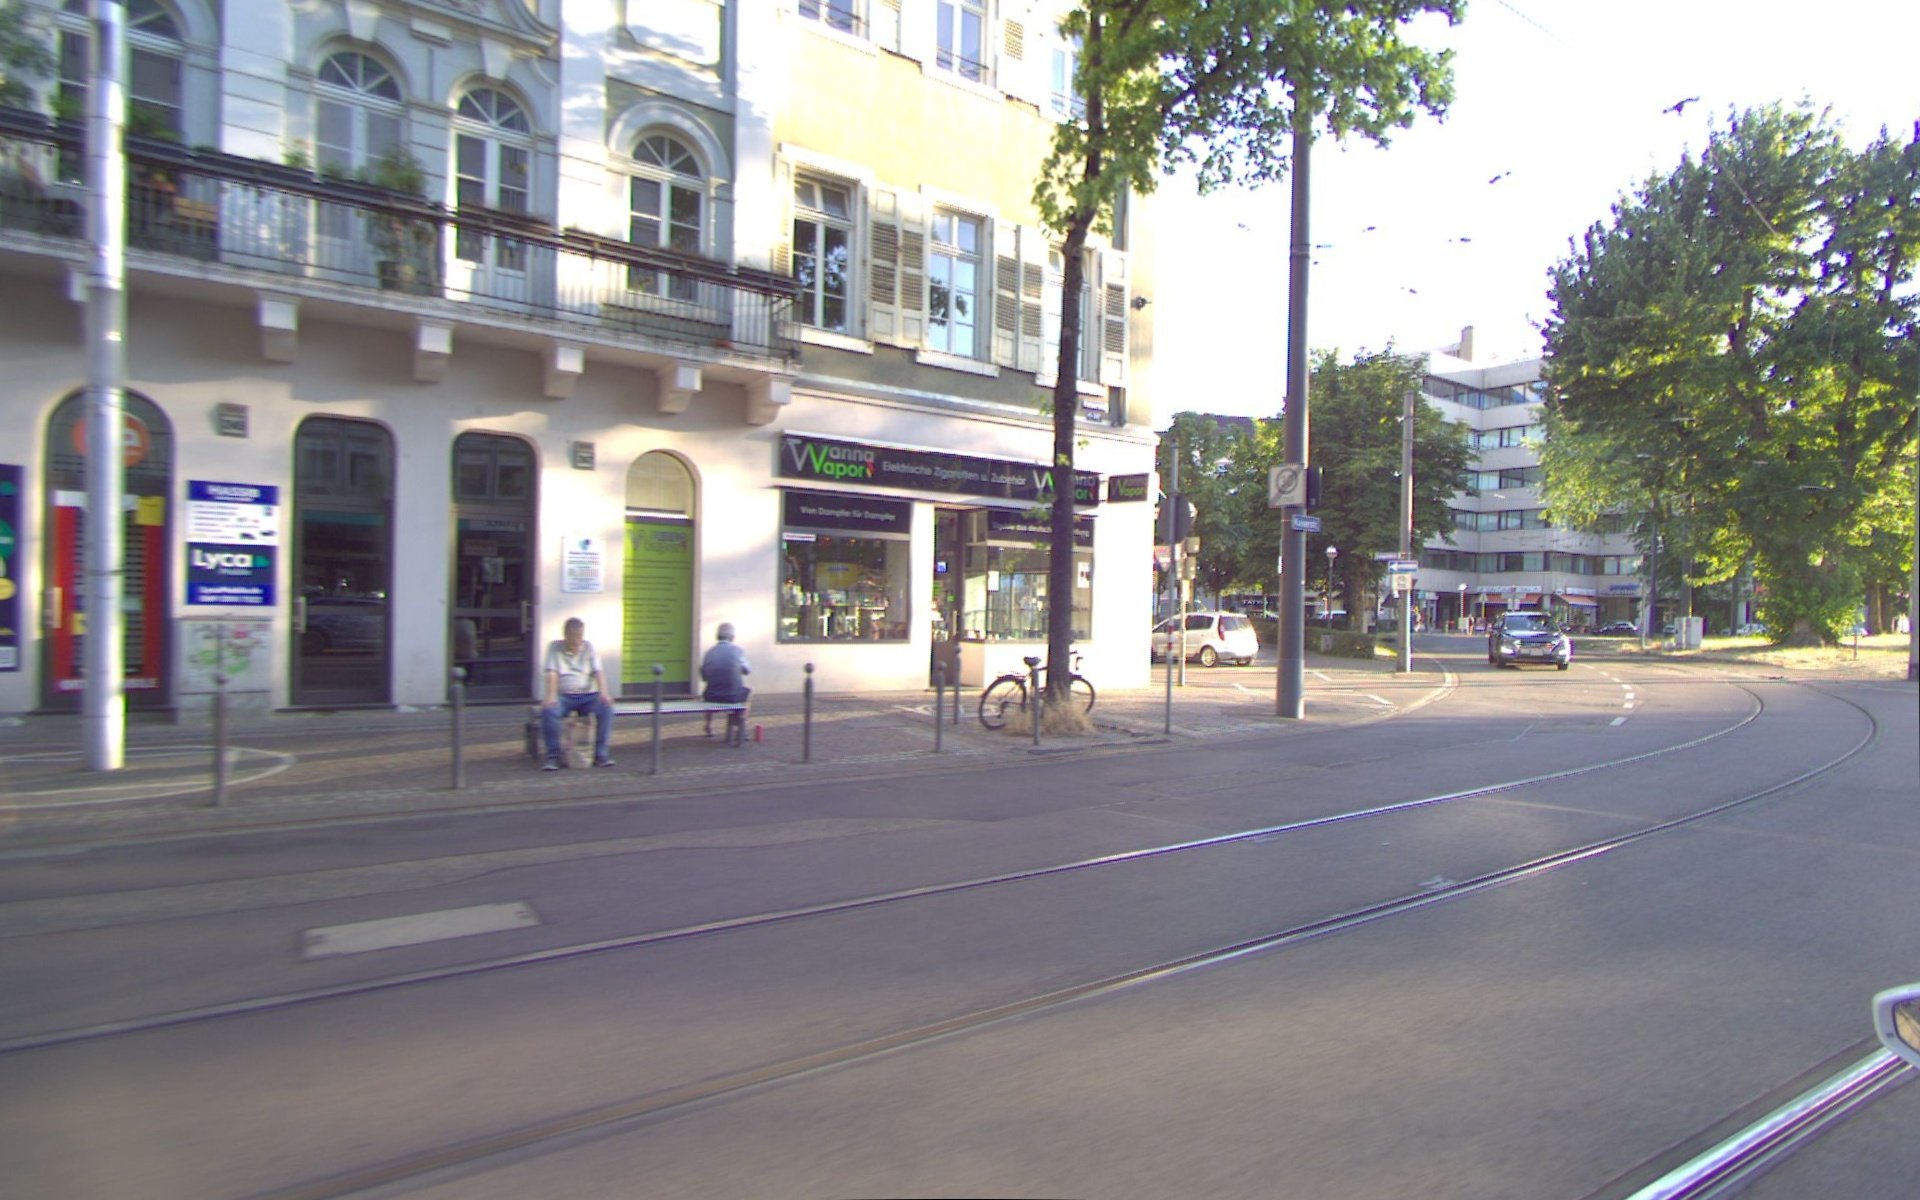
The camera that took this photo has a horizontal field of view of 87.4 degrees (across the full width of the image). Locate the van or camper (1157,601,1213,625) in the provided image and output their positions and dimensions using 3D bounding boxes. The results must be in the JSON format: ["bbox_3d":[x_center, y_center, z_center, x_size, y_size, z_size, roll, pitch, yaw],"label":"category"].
[{"bbox_3d":[15.973,0.883,71.339,1.743,1.662,3.654,1,0,-37],"label":"van or camper"}]

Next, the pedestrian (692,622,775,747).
[{"bbox_3d":[-2.321,0.844,10.287,0.635,1.210,0.587,1,1,-35],"label":"pedestrian"}]

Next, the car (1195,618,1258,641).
[{"bbox_3d":[13.850,1.526,52.223,3.239,1.133,1.700,1,0,-43],"label":"car"}]

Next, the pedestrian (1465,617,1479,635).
[{"bbox_3d":[44.729,2.258,87.733,0.757,1.523,0.744,1,0,-9],"label":"pedestrian"}]

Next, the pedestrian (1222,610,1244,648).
[{"bbox_3d":[10.557,1.115,38.828,0.730,1.429,0.772,1,0,9],"label":"pedestrian"}]

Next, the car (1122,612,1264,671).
[{"bbox_3d":[6.759,1.157,29.439,1.710,1.535,3.962,1,0,-34],"label":"car"}]

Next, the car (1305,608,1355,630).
[{"bbox_3d":[31.428,1.608,85.355,3.604,1.726,1.777,1,0,-6],"label":"car"}]

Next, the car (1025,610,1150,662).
[{"bbox_3d":[4.163,1.151,33.294,1.879,1.535,4.102,1,0,-34],"label":"car"}]

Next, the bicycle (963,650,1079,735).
[{"bbox_3d":[0.754,1.100,12.199,1.493,0.958,0.334,1,0,-33],"label":"bicycle"}]

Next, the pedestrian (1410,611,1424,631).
[{"bbox_3d":[34.651,1.603,76.133,0.734,1.523,0.767,0,0,42],"label":"pedestrian"}]

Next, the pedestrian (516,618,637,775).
[{"bbox_3d":[-3.452,0.826,9.038,0.848,1.308,0.723,1,1,-35],"label":"pedestrian"}]

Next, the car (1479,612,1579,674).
[{"bbox_3d":[17.190,1.229,30.550,1.931,1.699,4.359,1,0,20],"label":"car"}]

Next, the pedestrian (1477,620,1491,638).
[{"bbox_3d":[45.864,2.554,87.900,0.757,1.523,0.744,1,0,-9],"label":"pedestrian"}]
